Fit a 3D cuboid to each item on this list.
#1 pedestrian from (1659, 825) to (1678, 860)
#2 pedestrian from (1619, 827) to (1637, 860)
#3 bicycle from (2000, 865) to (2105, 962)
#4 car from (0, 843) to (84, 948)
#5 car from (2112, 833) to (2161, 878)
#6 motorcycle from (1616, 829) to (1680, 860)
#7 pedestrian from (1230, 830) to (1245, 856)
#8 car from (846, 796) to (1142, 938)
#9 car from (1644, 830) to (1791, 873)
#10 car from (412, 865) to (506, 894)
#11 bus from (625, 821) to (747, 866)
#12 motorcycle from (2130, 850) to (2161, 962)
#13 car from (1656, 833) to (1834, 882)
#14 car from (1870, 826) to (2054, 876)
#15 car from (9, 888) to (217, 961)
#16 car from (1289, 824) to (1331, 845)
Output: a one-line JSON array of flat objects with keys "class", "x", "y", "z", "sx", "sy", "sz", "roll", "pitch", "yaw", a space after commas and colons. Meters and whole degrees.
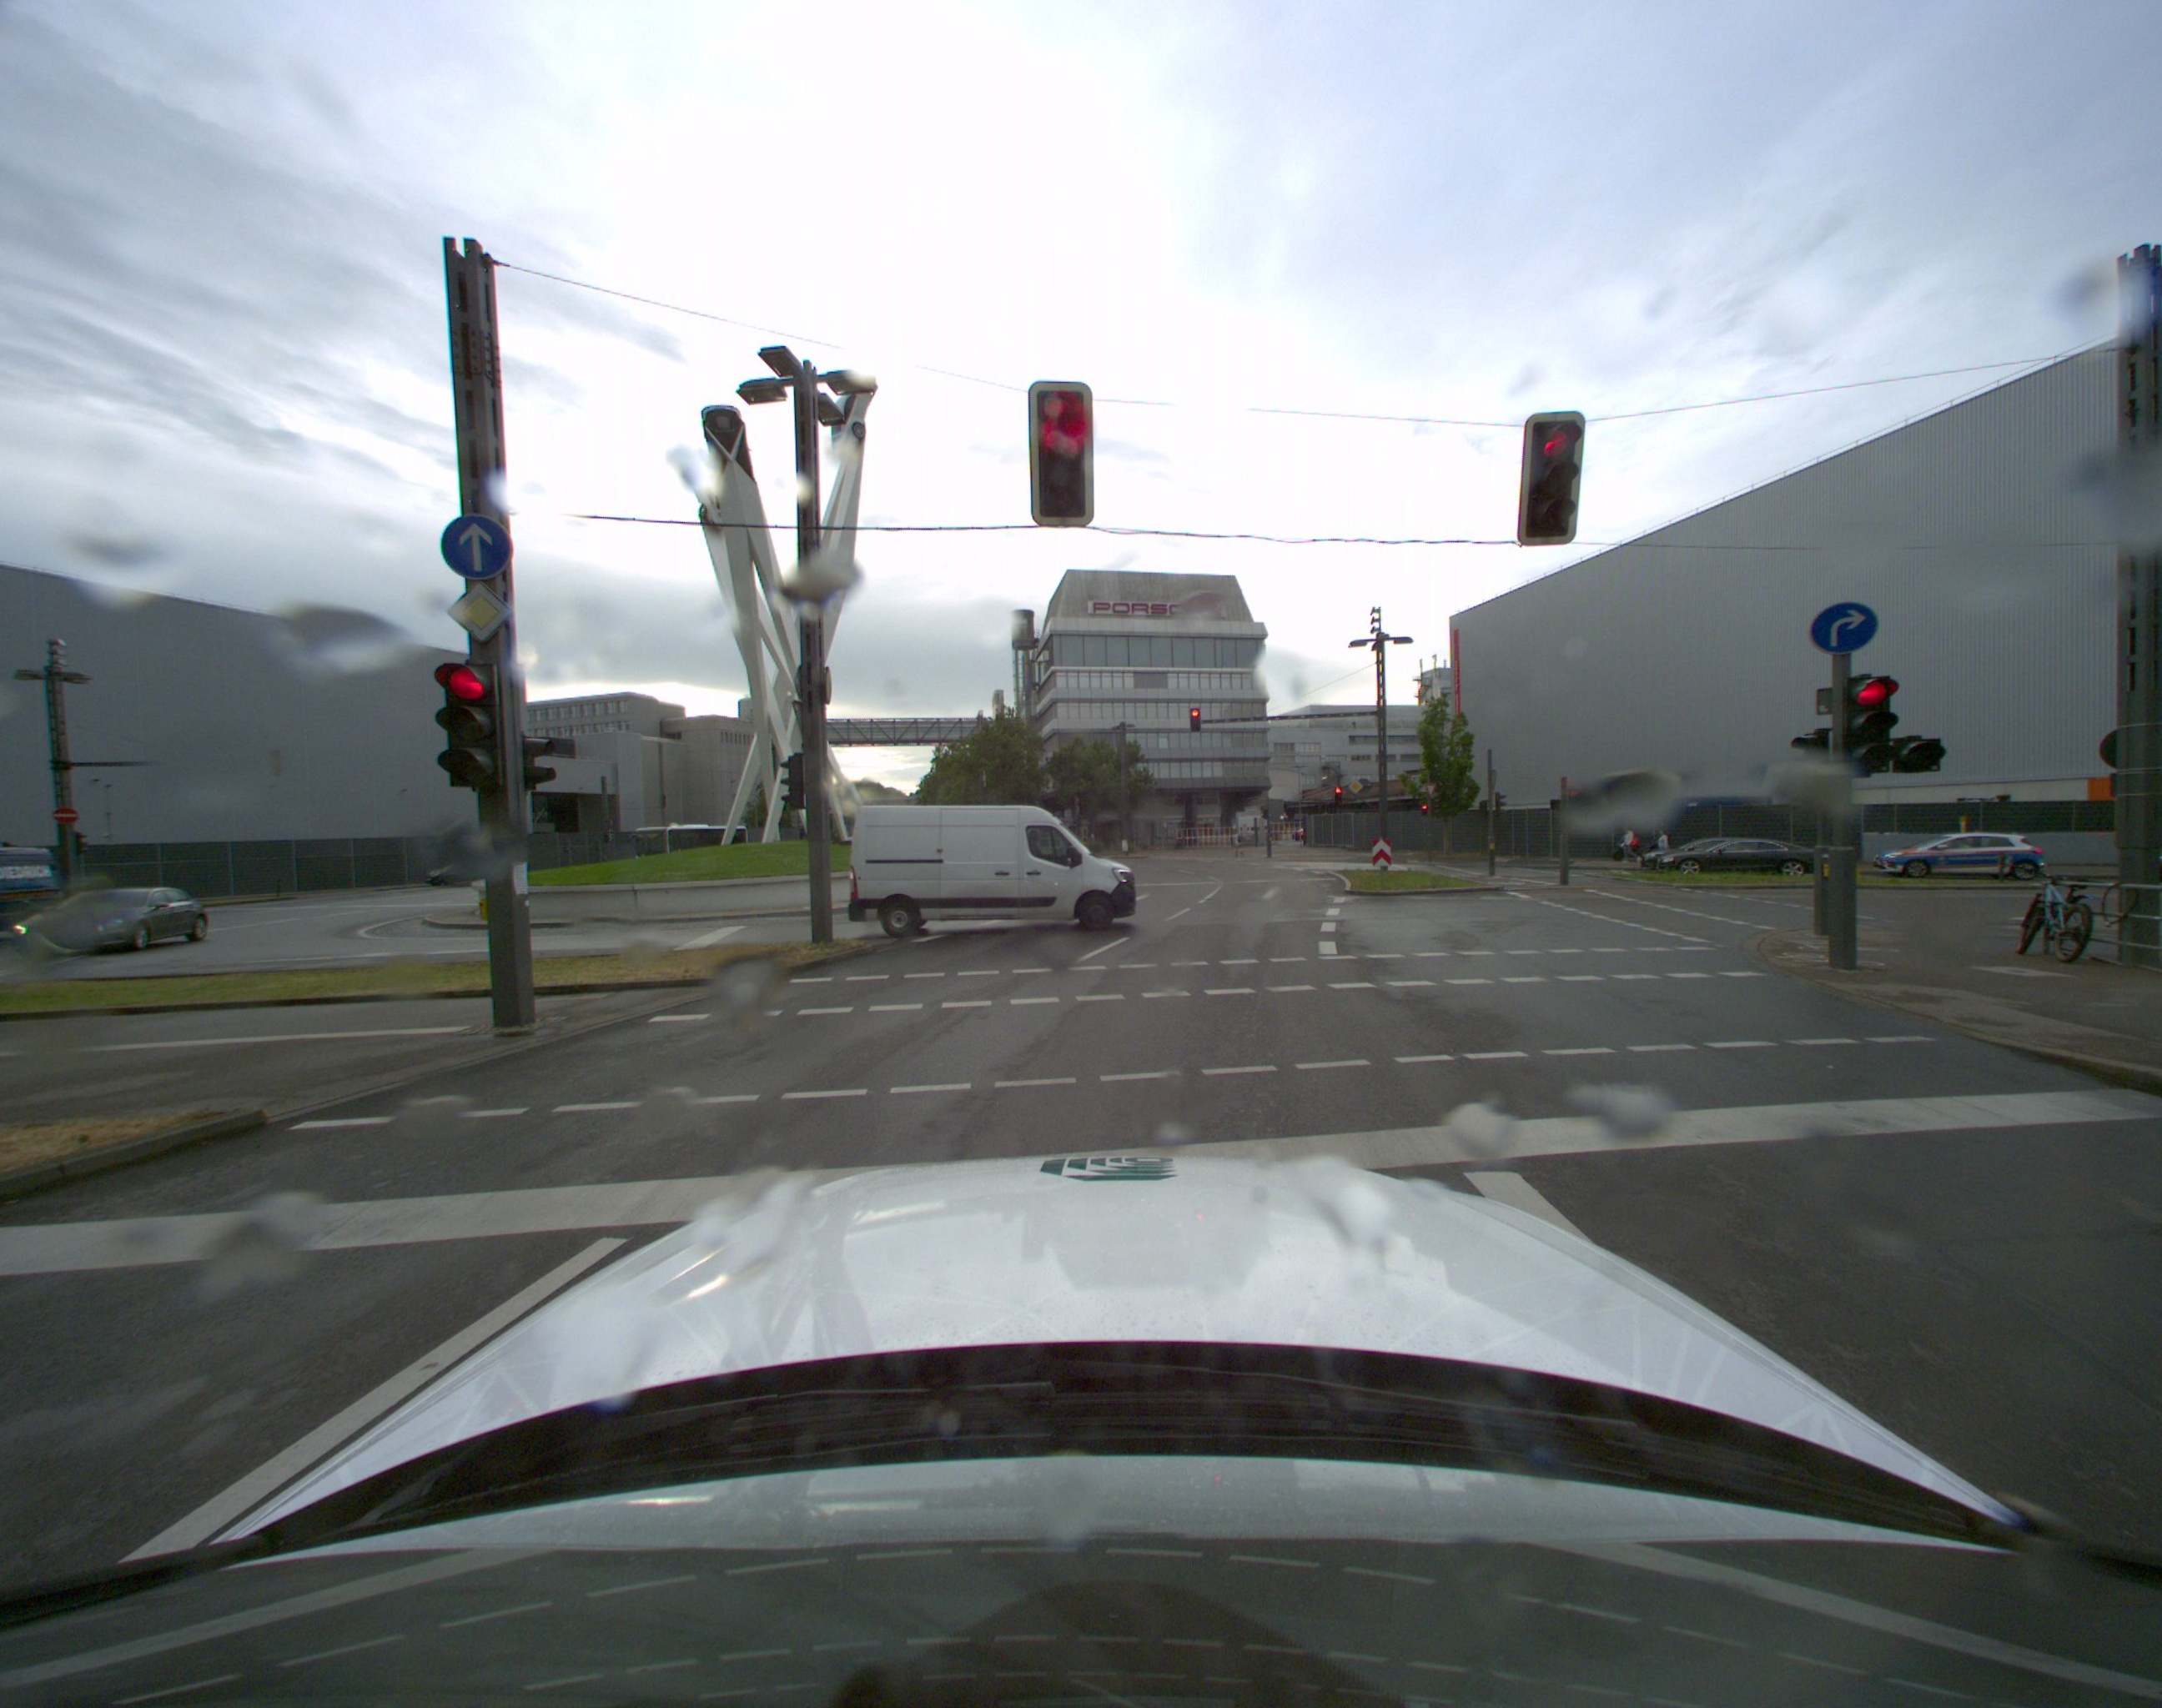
[{"class": "pedestrian", "x": 25.489, "y": -0.493, "z": 35.327, "sx": 0.642, "sy": 1.481, "sz": 0.442, "roll": -1, "pitch": 0, "yaw": 35}, {"class": "pedestrian", "x": 24.595, "y": -0.460, "z": 36.619, "sx": 0.605, "sy": 1.481, "sz": 0.426, "roll": -1, "pitch": 0, "yaw": 37}, {"class": "bicycle", "x": 12.383, "y": 0.714, "z": 10.426, "sx": 0.381, "sy": 1.098, "sz": 1.762, "roll": -2, "pitch": 0, "yaw": 35}, {"class": "car", "x": -29.848, "y": 1.139, "z": 21.282, "sx": 1.977, "sy": 2.820, "sz": 7.066, "roll": -2, "pitch": 0, "yaw": -26}, {"class": "car", "x": 35.330, "y": 0.042, "z": 25.146, "sx": 3.949, "sy": 1.392, "sz": 1.769, "roll": 0, "pitch": 2, "yaw": 31}, {"class": "motorcycle", "x": 25.694, "y": -0.429, "z": 36.931, "sx": 2.330, "sy": 1.344, "sz": 0.657, "roll": -1, "pitch": 0, "yaw": 30}, {"class": "pedestrian", "x": 10.244, "y": -0.720, "z": 53.342, "sx": 0.801, "sy": 1.611, "sz": 0.773, "roll": -2, "pitch": -1, "yaw": 19}, {"class": "car", "x": -1.640, "y": 0.209, "z": 16.127, "sx": 5.398, "sy": 2.447, "sz": 1.997, "roll": -2, "pitch": 0, "yaw": -5}, {"class": "car", "x": 24.094, "y": -0.120, "z": 31.044, "sx": 4.244, "sy": 1.539, "sz": 1.769, "roll": 0, "pitch": 2, "yaw": 31}, {"class": "car", "x": -36.106, "y": 1.431, "z": 47.356, "sx": 1.756, "sy": 1.486, "sz": 4.026, "roll": -1, "pitch": 0, "yaw": 38}, {"class": "bus", "x": -31.205, "y": -0.821, "z": 65.345, "sx": 2.656, "sy": 3.200, "sz": 12.686, "roll": -1, "pitch": 0, "yaw": 5}, {"class": "motorcycle", "x": 15.137, "y": 0.663, "z": 10.361, "sx": 2.213, "sy": 1.452, "sz": 0.759, "roll": -1, "pitch": 0, "yaw": 12}, {"class": "car", "x": 22.593, "y": 0.081, "z": 27.974, "sx": 4.525, "sy": 1.539, "sz": 1.769, "roll": 0, "pitch": 2, "yaw": 31}, {"class": "car", "x": 30.216, "y": -0.119, "z": 28.127, "sx": 3.930, "sy": 1.601, "sz": 1.924, "roll": 0, "pitch": 1, "yaw": 31}, {"class": "car", "x": -22.898, "y": 1.591, "z": 19.497, "sx": 1.648, "sy": 1.338, "sz": 4.039, "roll": -2, "pitch": 0, "yaw": -26}, {"class": "car", "x": 23.666, "y": -2.023, "z": 83.997, "sx": 4.923, "sy": 1.969, "sz": 1.975, "roll": -2, "pitch": 1, "yaw": -44}]
